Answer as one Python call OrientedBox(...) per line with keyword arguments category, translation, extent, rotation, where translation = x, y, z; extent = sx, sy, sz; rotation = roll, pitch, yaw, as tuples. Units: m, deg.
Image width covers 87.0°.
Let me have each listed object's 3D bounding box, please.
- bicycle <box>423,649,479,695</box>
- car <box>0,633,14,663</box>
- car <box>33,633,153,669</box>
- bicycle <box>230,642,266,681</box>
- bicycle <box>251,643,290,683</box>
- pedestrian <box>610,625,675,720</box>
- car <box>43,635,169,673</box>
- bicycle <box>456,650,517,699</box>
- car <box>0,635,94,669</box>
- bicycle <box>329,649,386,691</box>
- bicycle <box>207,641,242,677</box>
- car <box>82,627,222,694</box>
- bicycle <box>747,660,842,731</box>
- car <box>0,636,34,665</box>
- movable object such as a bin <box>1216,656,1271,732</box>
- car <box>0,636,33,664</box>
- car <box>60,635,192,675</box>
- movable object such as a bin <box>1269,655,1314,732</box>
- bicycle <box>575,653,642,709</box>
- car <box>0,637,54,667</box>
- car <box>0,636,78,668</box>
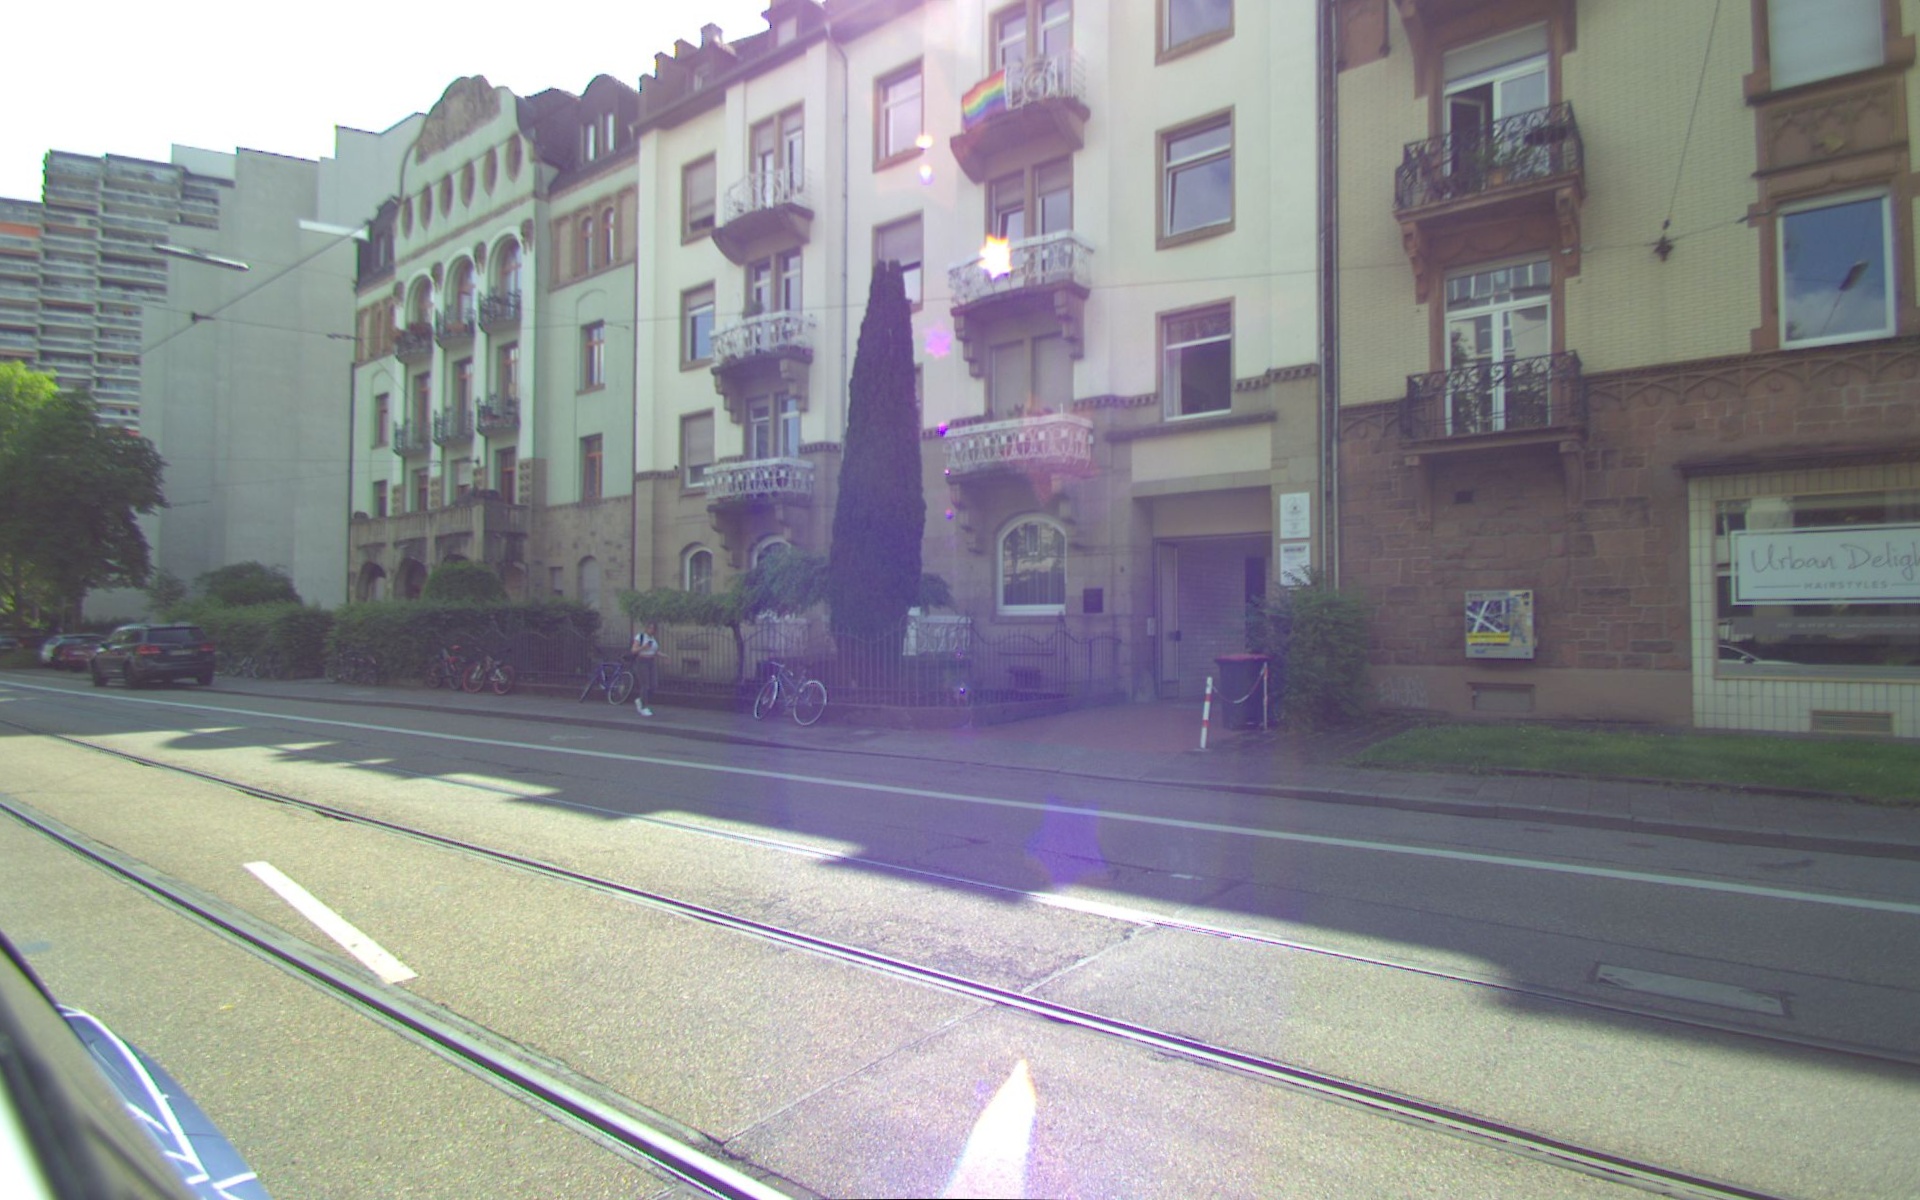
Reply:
OrientedBox(category="bicycle", translation=(-11.707, 1.641, 23.247), extent=(1.785, 1.003, 0.462), rotation=(-2, -3, 40))
OrientedBox(category="car", translation=(-56.408, 2.715, 57.408), extent=(3.938, 1.695, 2.002), rotation=(2, -3, -42))
OrientedBox(category="car", translation=(-38.196, 2.228, 44.657), extent=(3.938, 1.519, 2.002), rotation=(2, -3, -42))
OrientedBox(category="bicycle", translation=(-22.058, 1.891, 31.337), extent=(1.785, 1.144, 0.462), rotation=(-2, -3, 40))
OrientedBox(category="bicycle", translation=(-20.534, 1.870, 30.133), extent=(1.785, 1.144, 0.462), rotation=(-2, -3, 40))
OrientedBox(category="pedestrian", translation=(-5.351, 1.201, 17.072), extent=(0.764, 1.553, 0.749), rotation=(-2, -3, 39))
OrientedBox(category="car", translation=(-35.593, 2.226, 42.240), extent=(3.938, 1.519, 2.002), rotation=(2, -3, -42))
OrientedBox(category="bicycle", translation=(-10.293, 1.602, 21.982), extent=(1.785, 1.003, 0.462), rotation=(-2, -3, 40))
OrientedBox(category="car", translation=(-43.503, 2.435, 47.730), extent=(3.938, 1.519, 2.002), rotation=(2, -3, -42))
OrientedBox(category="bicycle", translation=(-15.177, 1.751, 25.464), extent=(1.979, 1.003, 0.597), rotation=(-2, -3, 40))
OrientedBox(category="bicycle", translation=(-23.711, 1.891, 32.630), extent=(1.785, 1.144, 0.462), rotation=(-2, -3, 40))
OrientedBox(category="car", translation=(-22.274, 1.609, 27.859), extent=(4.393, 1.708, 1.899), rotation=(-1, -2, 36))
OrientedBox(category="bicycle", translation=(-2.644, 1.477, 15.972), extent=(0.461, 1.003, 1.980), rotation=(2, -3, -43))
OrientedBox(category="car", translation=(-51.324, 2.649, 53.151), extent=(3.938, 1.519, 2.002), rotation=(2, -3, -42))
OrientedBox(category="movable object such as a bin", translation=(4.003, 1.311, 14.311), extent=(0.697, 1.037, 0.475), rotation=(0, -2, 11))
OrientedBox(category="car", translation=(-53.510, 2.730, 55.457), extent=(3.938, 1.519, 2.002), rotation=(2, -3, -42))
OrientedBox(category="car", translation=(-32.914, 2.136, 39.982), extent=(3.938, 1.519, 2.002), rotation=(2, -3, -42))
OrientedBox(category="movable object such as a bin", translation=(4.661, 1.306, 14.255), extent=(0.531, 1.037, 0.475), rotation=(0, -2, 11))
OrientedBox(category="bicycle", translation=(-6.711, 1.519, 19.280), extent=(0.461, 1.003, 1.788), rotation=(2, -3, -45))
OrientedBox(category="car", translation=(-48.635, 2.614, 51.365), extent=(3.938, 1.519, 2.002), rotation=(2, -3, -42))
OrientedBox(category="car", translation=(-45.956, 2.518, 49.711), extent=(3.938, 1.519, 2.002), rotation=(2, -3, -42))
